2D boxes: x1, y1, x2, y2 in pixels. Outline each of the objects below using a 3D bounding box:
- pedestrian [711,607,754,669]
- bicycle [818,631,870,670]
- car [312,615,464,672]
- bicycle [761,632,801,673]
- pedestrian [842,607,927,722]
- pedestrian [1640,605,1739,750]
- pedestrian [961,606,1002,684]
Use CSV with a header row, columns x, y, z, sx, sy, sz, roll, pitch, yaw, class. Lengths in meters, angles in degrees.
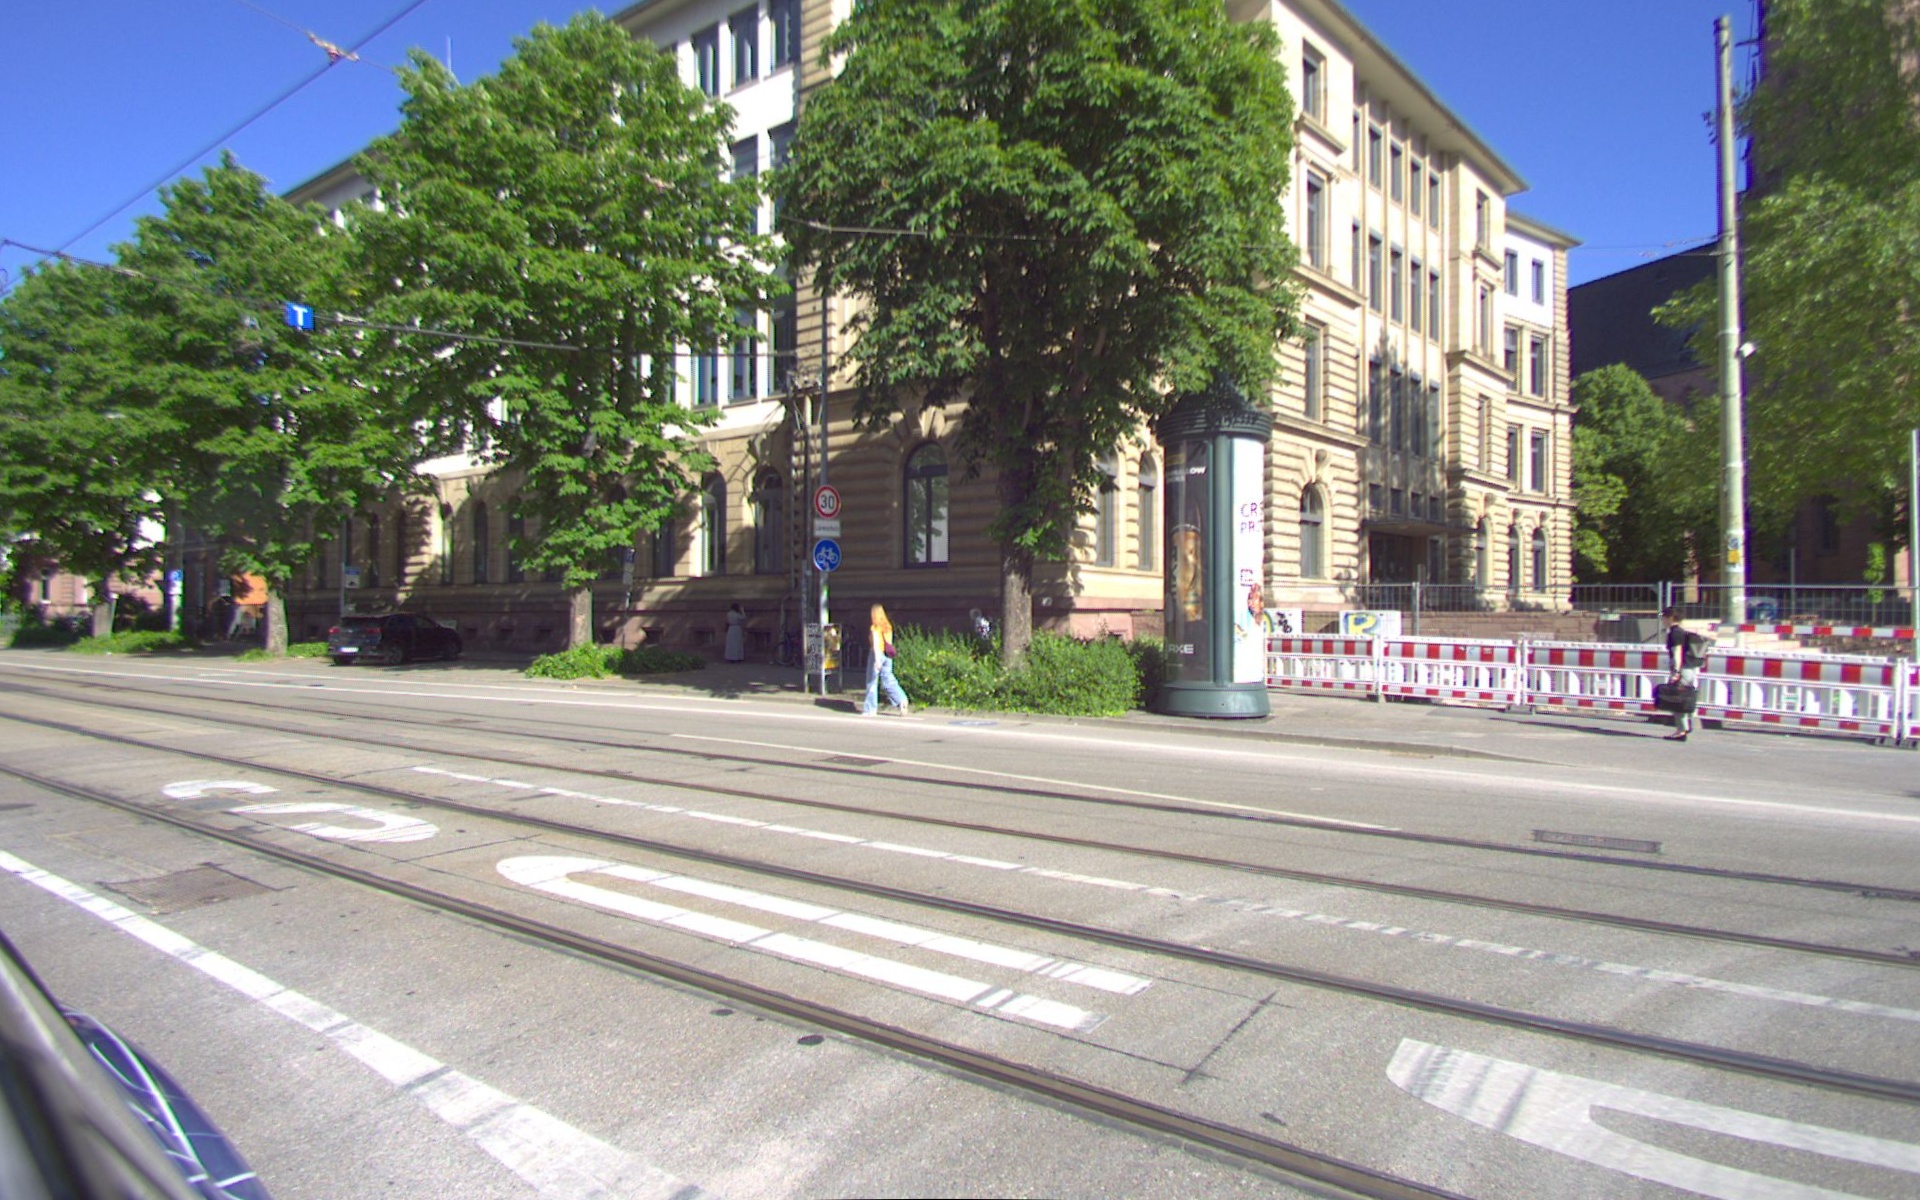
x,y,z,sx,sy,sz,roll,pitch,yaw,class
-6.129,1.003,27.247,0.672,1.578,0.847,0,3,40,pedestrian
-2.846,1.227,24.759,1.359,0.910,0.393,0,0,37,bicycle
-17.000,1.243,30.322,1.898,1.586,4.100,0,-1,8,car
-4.476,1.309,25.265,1.100,0.963,0.339,0,0,37,bicycle
-1.157,0.959,15.477,1.031,1.682,0.763,0,-2,33,pedestrian
9.012,0.920,12.498,0.719,1.682,0.847,1,0,-44,pedestrian
0.446,0.913,20.888,0.652,1.574,0.572,-1,-2,35,pedestrian
